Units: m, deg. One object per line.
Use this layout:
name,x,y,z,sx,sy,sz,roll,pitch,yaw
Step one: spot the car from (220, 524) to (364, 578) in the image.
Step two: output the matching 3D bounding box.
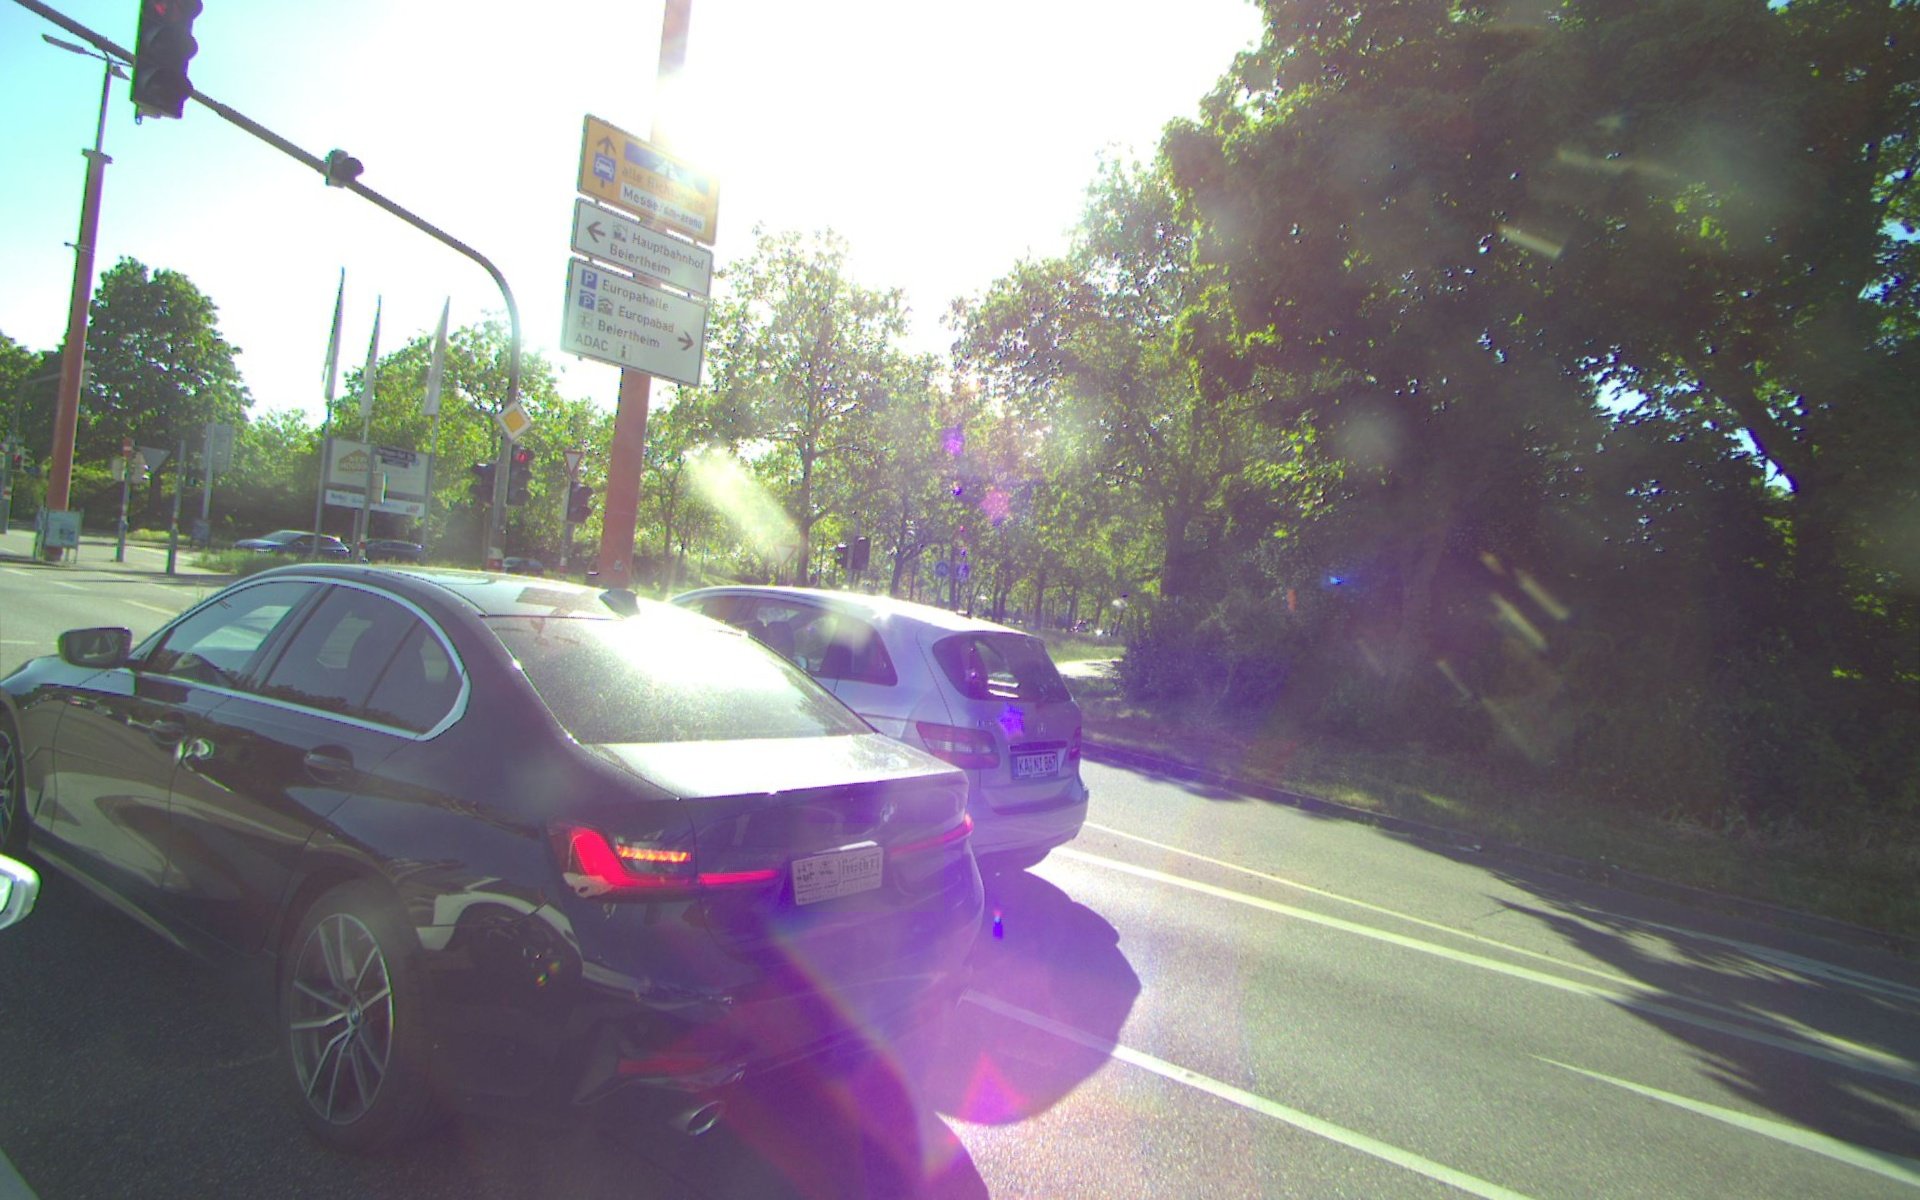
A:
car,-25.087,-1.811,37.982,1.848,1.445,4.283,7,-1,14

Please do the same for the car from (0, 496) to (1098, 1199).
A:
car,-1.959,0.528,3.882,4.403,1.411,1.996,7,0,32

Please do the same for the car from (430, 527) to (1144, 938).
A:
car,-1.281,0.639,6.790,4.403,1.706,1.970,7,-1,32

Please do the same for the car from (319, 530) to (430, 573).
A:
car,-31.249,-2.568,53.827,2.128,1.592,4.578,7,-1,27

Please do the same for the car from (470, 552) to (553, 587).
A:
car,-27.917,-1.892,62.706,2.127,1.592,4.278,7,-1,25
